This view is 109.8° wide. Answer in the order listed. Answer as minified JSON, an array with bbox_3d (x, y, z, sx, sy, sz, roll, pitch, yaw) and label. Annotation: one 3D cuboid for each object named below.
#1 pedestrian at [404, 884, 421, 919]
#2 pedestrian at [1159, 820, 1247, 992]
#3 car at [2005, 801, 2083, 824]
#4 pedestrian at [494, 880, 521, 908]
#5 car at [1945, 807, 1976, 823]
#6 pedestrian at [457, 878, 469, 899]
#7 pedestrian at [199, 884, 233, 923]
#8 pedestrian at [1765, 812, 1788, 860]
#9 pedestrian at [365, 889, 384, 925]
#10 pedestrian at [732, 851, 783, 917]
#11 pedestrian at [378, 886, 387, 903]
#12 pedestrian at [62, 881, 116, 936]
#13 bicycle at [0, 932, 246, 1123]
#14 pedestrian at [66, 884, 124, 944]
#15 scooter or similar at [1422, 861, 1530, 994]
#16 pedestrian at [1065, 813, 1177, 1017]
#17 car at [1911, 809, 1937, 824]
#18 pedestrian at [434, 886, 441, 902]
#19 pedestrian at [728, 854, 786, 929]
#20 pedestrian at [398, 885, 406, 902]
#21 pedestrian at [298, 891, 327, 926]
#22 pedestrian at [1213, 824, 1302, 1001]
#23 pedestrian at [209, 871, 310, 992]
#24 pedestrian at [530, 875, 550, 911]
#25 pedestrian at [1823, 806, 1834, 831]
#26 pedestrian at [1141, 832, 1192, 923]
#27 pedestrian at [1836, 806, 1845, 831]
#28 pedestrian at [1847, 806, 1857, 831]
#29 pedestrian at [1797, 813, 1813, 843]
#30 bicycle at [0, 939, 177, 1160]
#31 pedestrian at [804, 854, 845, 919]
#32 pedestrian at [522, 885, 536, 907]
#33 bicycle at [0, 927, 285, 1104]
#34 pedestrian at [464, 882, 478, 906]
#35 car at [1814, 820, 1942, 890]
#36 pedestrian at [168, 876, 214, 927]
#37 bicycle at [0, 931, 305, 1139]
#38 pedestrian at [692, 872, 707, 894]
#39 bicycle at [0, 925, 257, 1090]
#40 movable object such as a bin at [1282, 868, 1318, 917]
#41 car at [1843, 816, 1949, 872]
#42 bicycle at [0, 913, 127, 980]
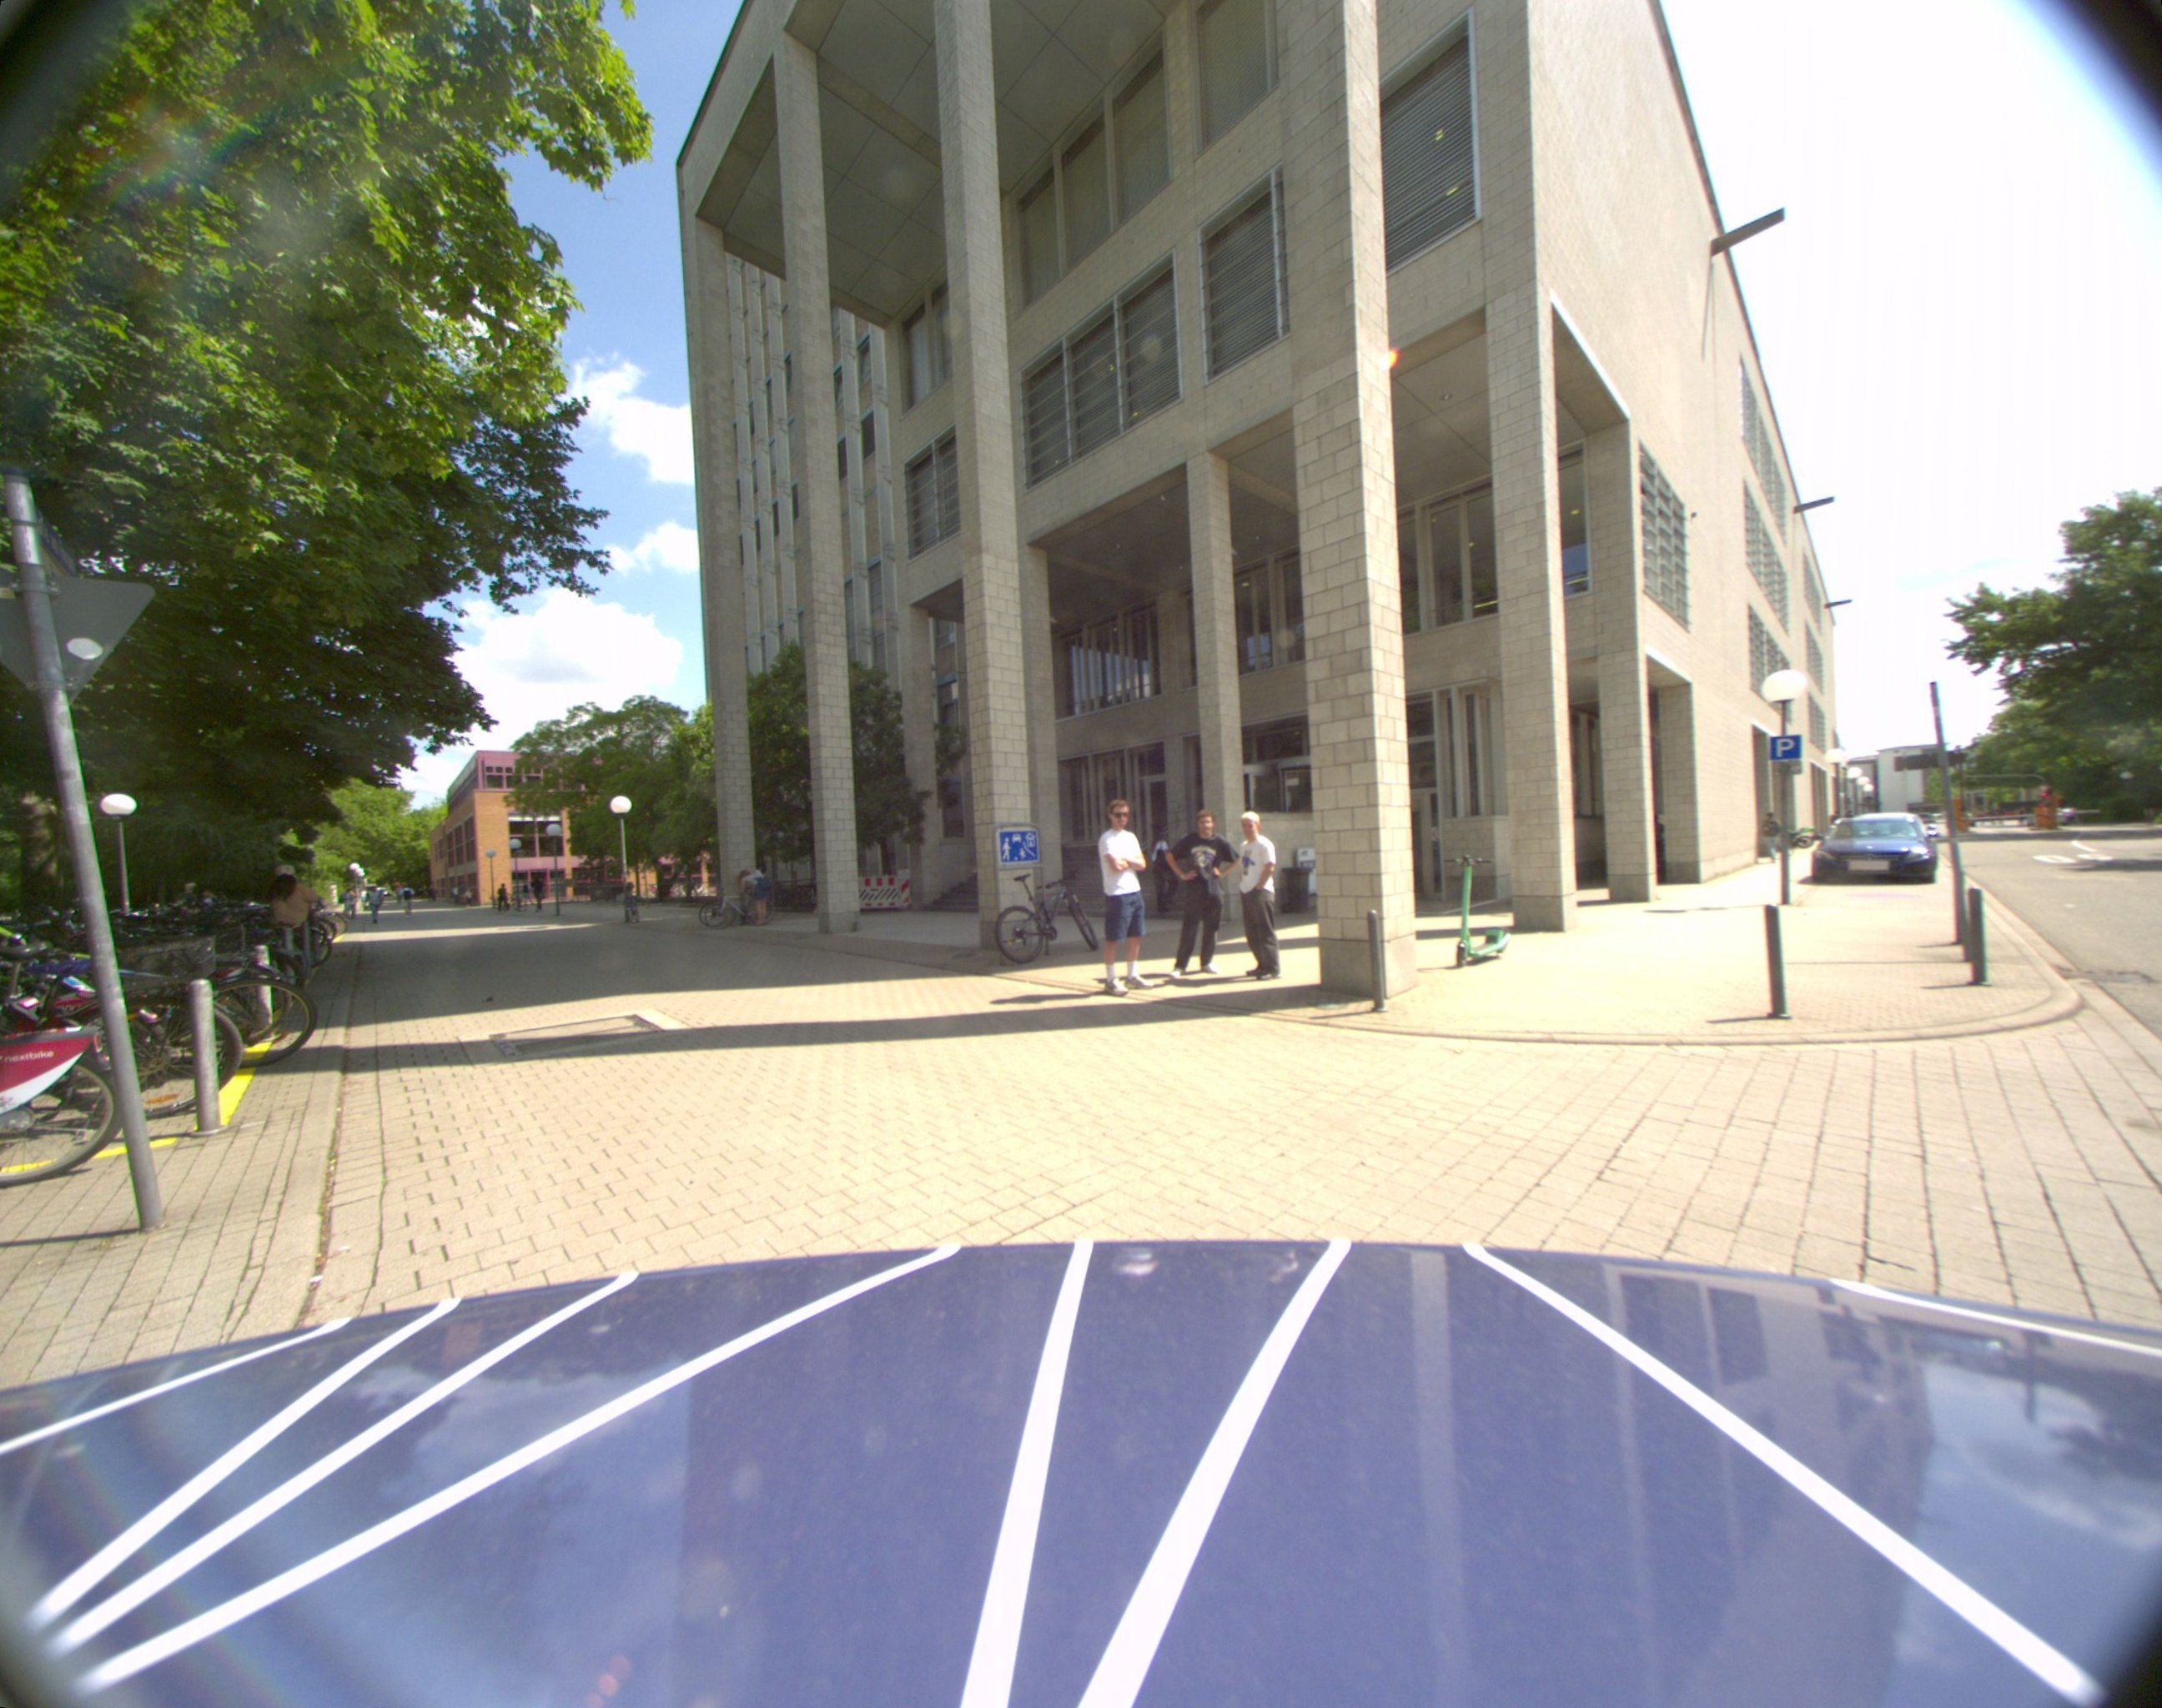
[{"bbox_3d":[-35.060,2.457,39.837,0.566,1.754,0.801,-3,4,-45],"label":"pedestrian"},{"bbox_3d":[1.321,0.549,8.328,0.809,1.787,0.620,-3,1,3],"label":"pedestrian"},{"bbox_3d":[78.181,-3.340,61.755,1.808,1.440,3.668,-4,-2,-45],"label":"car"},{"bbox_3d":[-33.845,2.353,44.837,0.729,1.503,1.205,-1,2,-9],"label":"pedestrian"},{"bbox_3d":[90.516,-4.004,78.229,3.683,1.440,1.800,-3,-2,-44],"label":"car"},{"bbox_3d":[-54.948,3.056,67.555,0.745,1.754,0.972,-3,3,-44],"label":"pedestrian"},{"bbox_3d":[-34.412,1.970,30.243,0.690,1.503,0.515,0,3,3],"label":"pedestrian"},{"bbox_3d":[23.084,-0.604,25.218,0.549,1.572,0.607,1,3,44],"label":"pedestrian"},{"bbox_3d":[-31.385,2.331,33.763,0.516,1.503,0.689,-3,3,-41],"label":"pedestrian"},{"bbox_3d":[-8.923,0.818,20.962,0.935,1.730,0.750,-3,1,29],"label":"pedestrian"},{"bbox_3d":[-73.631,4.280,80.140,0.566,1.754,0.801,-2,3,-37],"label":"pedestrian"},{"bbox_3d":[-29.452,1.599,22.568,0.746,1.560,0.719,-3,1,-35],"label":"pedestrian"},{"bbox_3d":[-6.735,1.140,5.086,1.477,1.079,0.459,-1,1,-42],"label":"bicycle"},{"bbox_3d":[-27.165,1.627,20.954,0.746,1.560,0.719,-3,1,-35],"label":"pedestrian"},{"bbox_3d":[4.205,0.717,8.042,1.513,1.205,0.563,-4,4,-44],"label":"scooter or similar"},{"bbox_3d":[0.397,0.567,7.503,0.685,1.880,0.687,-3,2,44],"label":"pedestrian"},{"bbox_3d":[115.494,-5.092,104.138,1.864,1.959,3.924,2,3,42],"label":"car"},{"bbox_3d":[-72.988,4.528,86.183,0.566,1.754,0.801,-2,3,-37],"label":"pedestrian"},{"bbox_3d":[-7.768,0.899,18.213,0.935,1.730,0.750,-3,1,28],"label":"pedestrian"},{"bbox_3d":[-72.418,4.241,81.024,0.566,1.754,0.801,-2,3,-37],"label":"pedestrian"},{"bbox_3d":[-34.191,2.427,33.799,0.690,1.503,0.515,0,3,3],"label":"pedestrian"},{"bbox_3d":[1.823,0.576,7.842,0.543,1.719,0.612,-4,2,-42],"label":"pedestrian"},{"bbox_3d":[-12.326,1.132,11.422,0.427,1.693,0.946,-4,-1,43],"label":"pedestrian"},{"bbox_3d":[-27.792,2.006,39.018,0.745,1.754,0.972,-2,3,-33],"label":"pedestrian"},{"bbox_3d":[49.483,-2.335,50.265,0.571,1.621,0.440,-3,3,-42],"label":"pedestrian"},{"bbox_3d":[1.745,0.470,15.470,0.688,1.727,0.685,-2,11,24],"label":"pedestrian"},{"bbox_3d":[49.852,-2.324,49.867,0.520,1.621,0.382,-3,3,-42],"label":"pedestrian"},{"bbox_3d":[50.190,-2.313,49.483,0.520,1.621,0.382,-3,3,-42],"label":"pedestrian"},{"bbox_3d":[33.951,-1.223,35.630,0.466,1.401,0.464,-2,3,-37],"label":"pedestrian"},{"bbox_3d":[-6.303,1.112,4.242,1.528,1.135,0.491,-1,1,-24],"label":"bicycle"},{"bbox_3d":[-7.173,0.905,21.227,0.750,1.730,0.935,-4,1,-35],"label":"pedestrian"},{"bbox_3d":[-39.094,2.972,53.833,0.693,1.503,0.513,-3,4,-44],"label":"pedestrian"},{"bbox_3d":[-7.161,1.167,5.728,1.518,1.079,0.481,-1,1,-38],"label":"bicycle"},{"bbox_3d":[-48.042,3.138,59.823,0.745,1.754,0.972,-3,3,-44],"label":"pedestrian"},{"bbox_3d":[17.994,-0.031,17.178,3.885,1.390,1.839,-2,2,-43],"label":"car"},{"bbox_3d":[-28.727,1.523,24.540,0.746,1.560,0.719,-3,1,-35],"label":"pedestrian"},{"bbox_3d":[-6.146,1.126,4.991,0.459,1.079,1.443,1,1,45],"label":"bicycle"},{"bbox_3d":[-31.492,2.374,62.755,0.975,1.754,0.743,-1,3,-17],"label":"pedestrian"},{"bbox_3d":[-7.705,1.166,5.893,1.699,1.079,0.481,-1,1,-38],"label":"bicycle"},{"bbox_3d":[4.426,0.769,15.339,0.513,0.944,0.512,-3,3,-45],"label":"movable object such as a bin"},{"bbox_3d":[22.184,-0.297,20.728,3.885,1.390,1.839,-2,2,-43],"label":"car"},{"bbox_3d":[-19.604,1.749,14.623,0.352,1.077,1.474,-2,1,34],"label":"bicycle"}]
